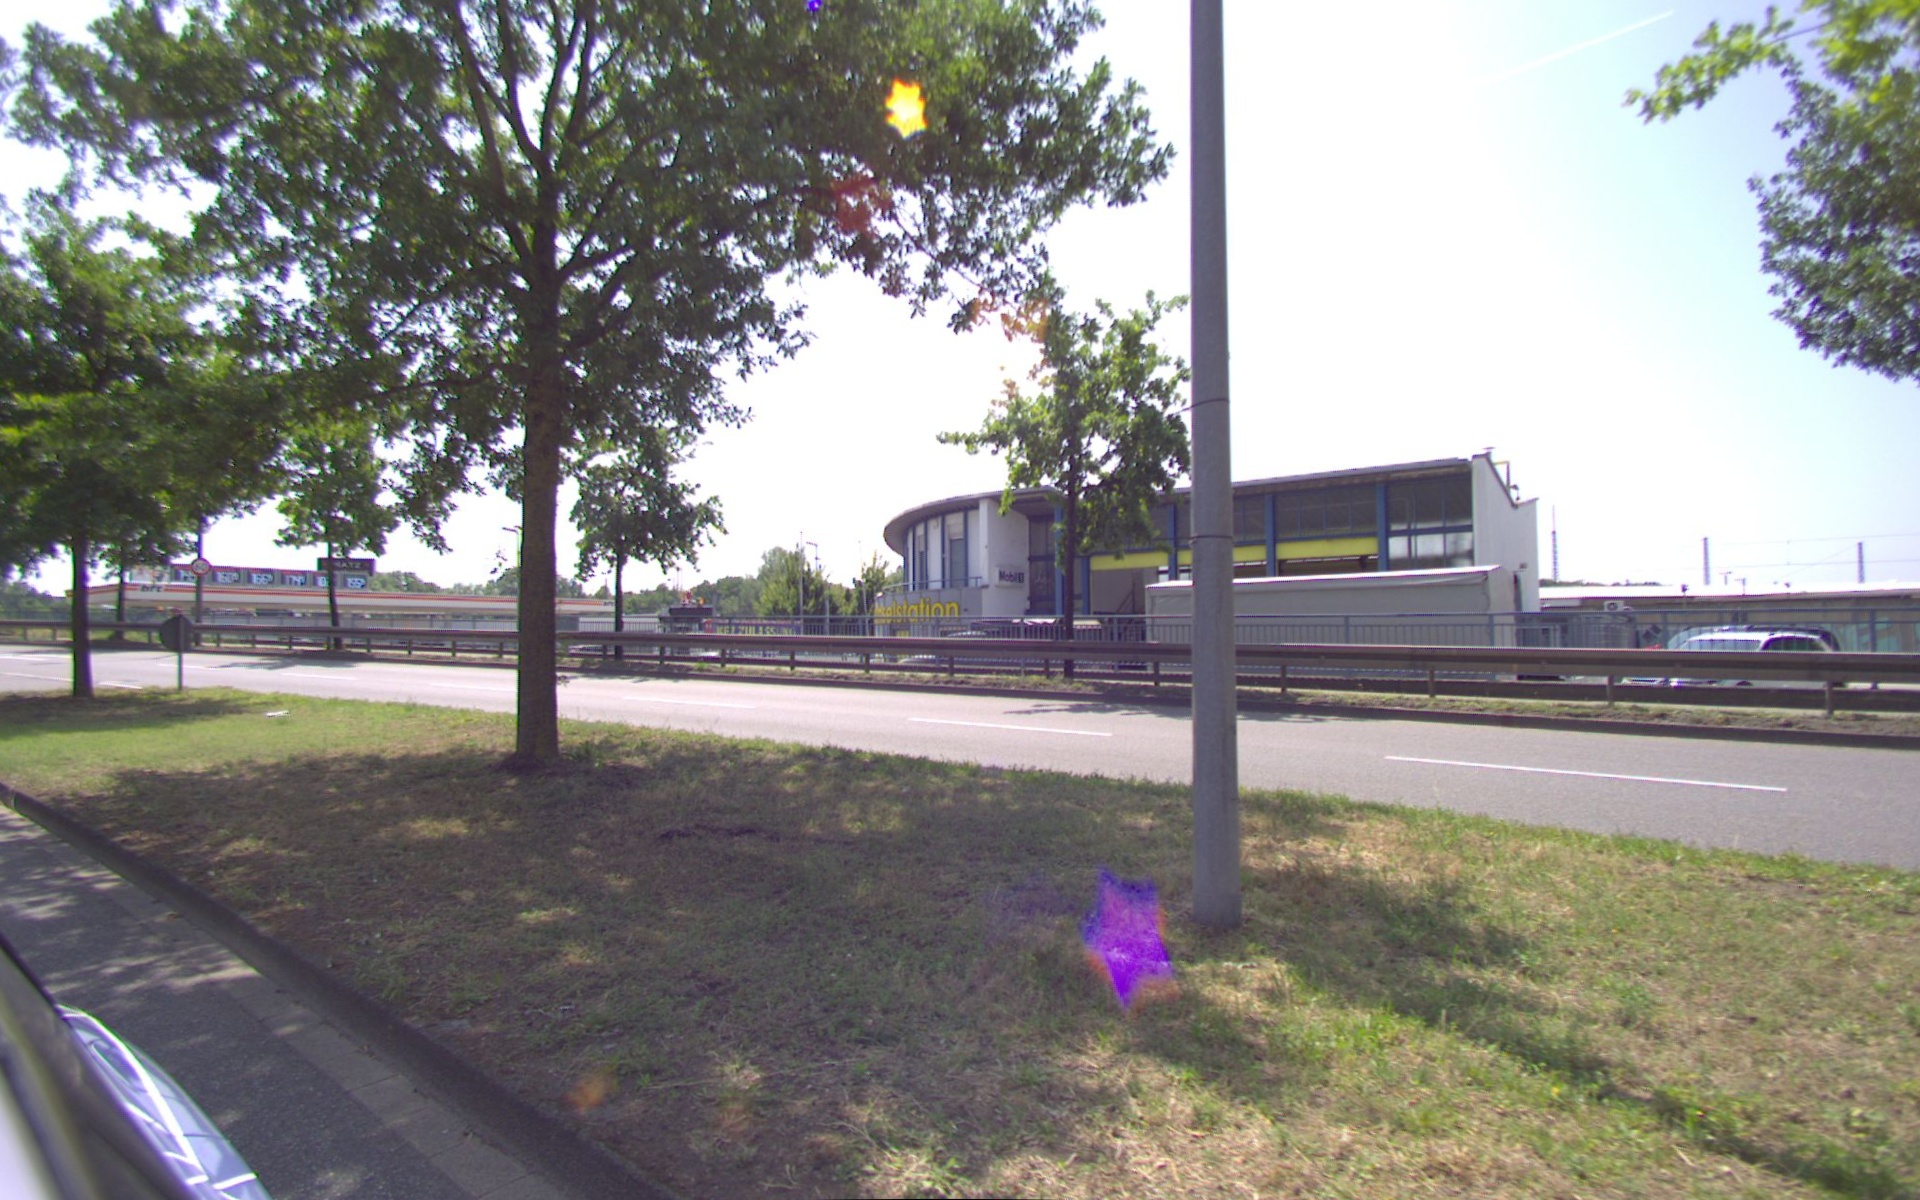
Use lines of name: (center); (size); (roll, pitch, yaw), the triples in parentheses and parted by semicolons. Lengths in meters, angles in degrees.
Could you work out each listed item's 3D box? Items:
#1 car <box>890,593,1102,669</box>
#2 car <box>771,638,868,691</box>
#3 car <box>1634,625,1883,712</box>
car: (0.759, 0.712, 23.290); (4.633, 1.581, 1.879); (-1, -4, 38)
car: (-5.948, 2.697, 43.205); (1.995, 2.029, 3.953); (-1, -1, 34)
car: (14.188, 1.154, 18.002); (3.931, 1.390, 1.665); (0, -2, -21)
